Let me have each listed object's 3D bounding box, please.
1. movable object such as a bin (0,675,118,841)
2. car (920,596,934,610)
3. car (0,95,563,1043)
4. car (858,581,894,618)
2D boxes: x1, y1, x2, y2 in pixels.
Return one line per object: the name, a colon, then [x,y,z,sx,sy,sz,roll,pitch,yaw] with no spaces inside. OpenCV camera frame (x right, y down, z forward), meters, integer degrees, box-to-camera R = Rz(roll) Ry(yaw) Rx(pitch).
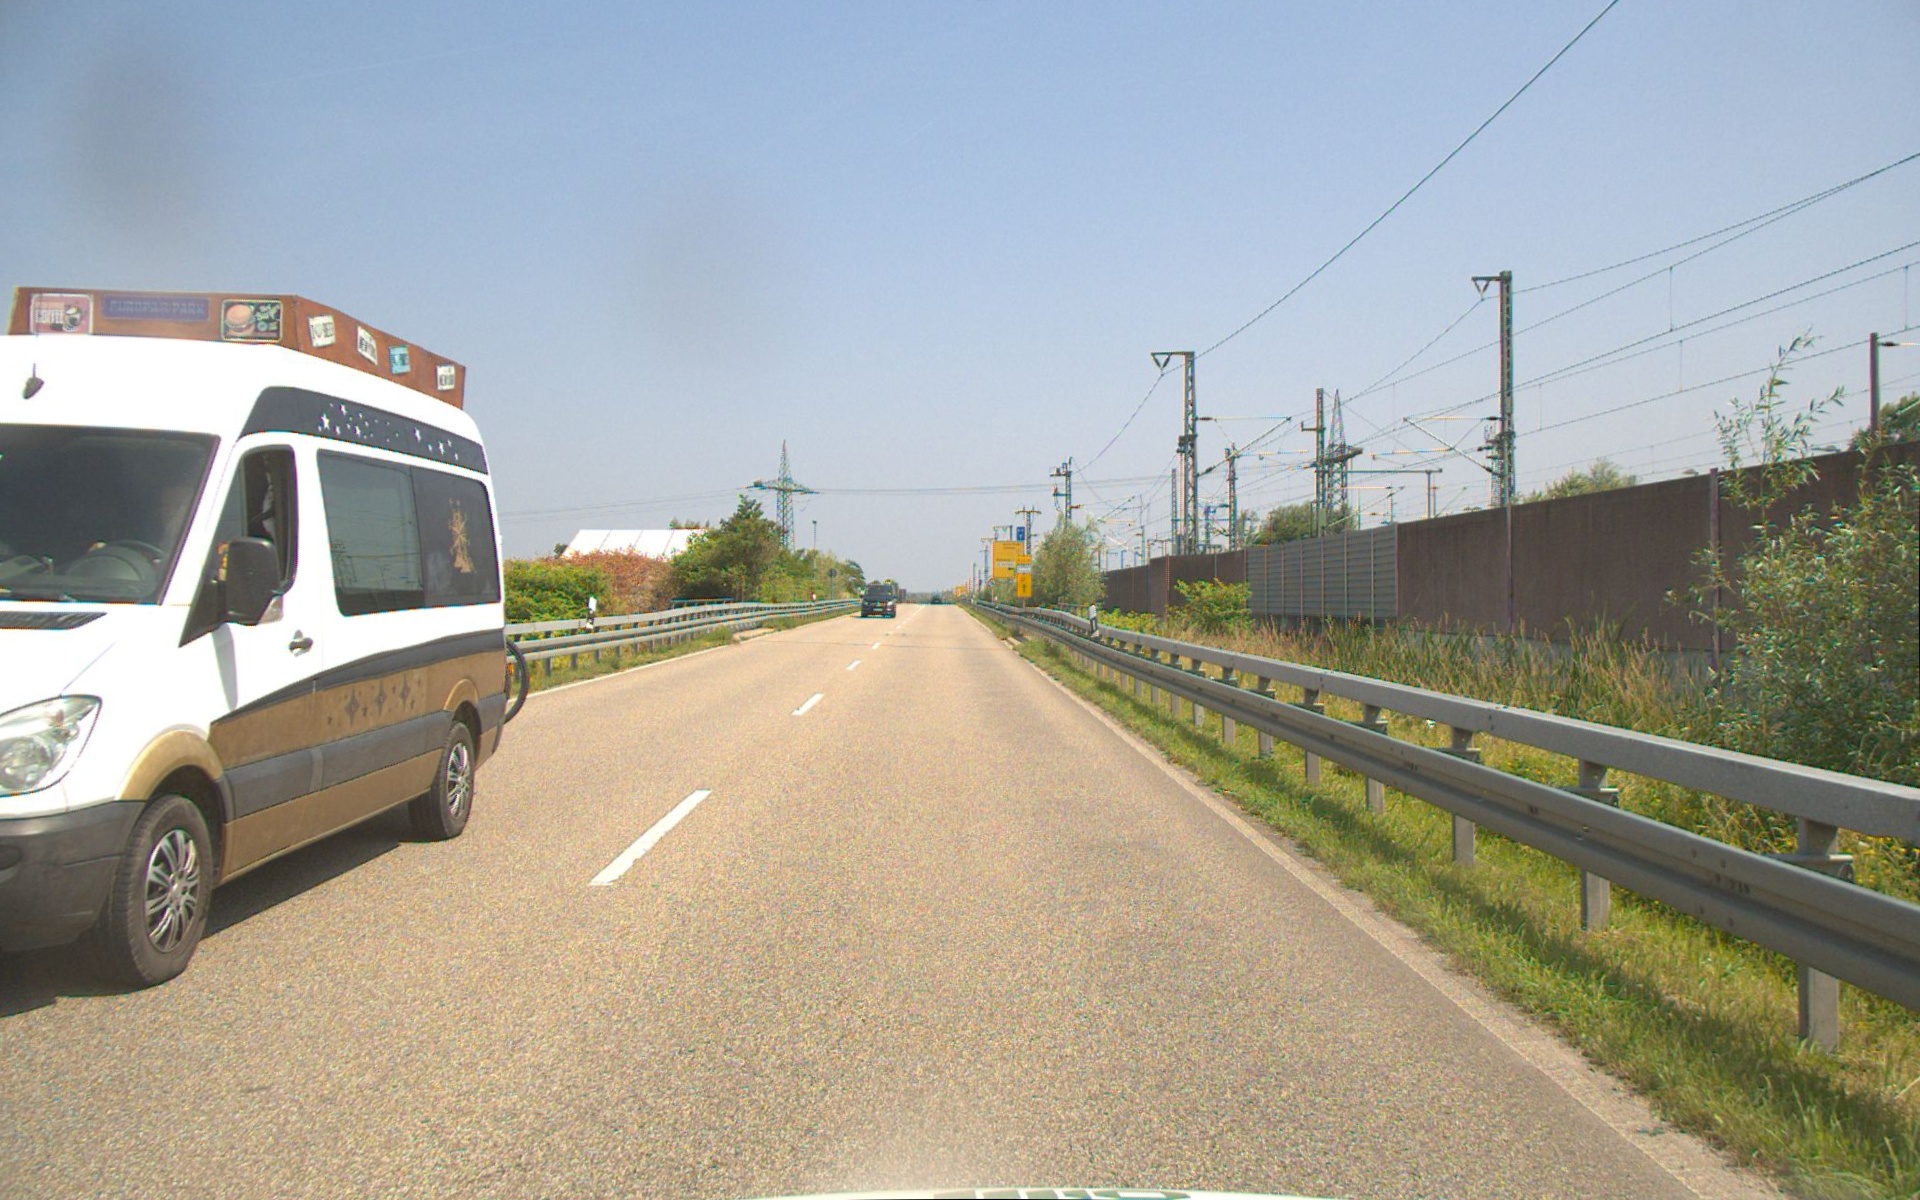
movable object such as a bin: [-15.222,2.271,22.863,5.783,2.054,2.446,-3,1,-7]
car: [-5.124,0.465,259.916,1.954,2.049,3.996,1,0,-5]
car: [-3.877,-0.135,8.610,2.037,3.014,6.728,2,0,-1]
car: [-4.796,-0.044,94.832,1.855,2.049,5.368,1,0,-1]
